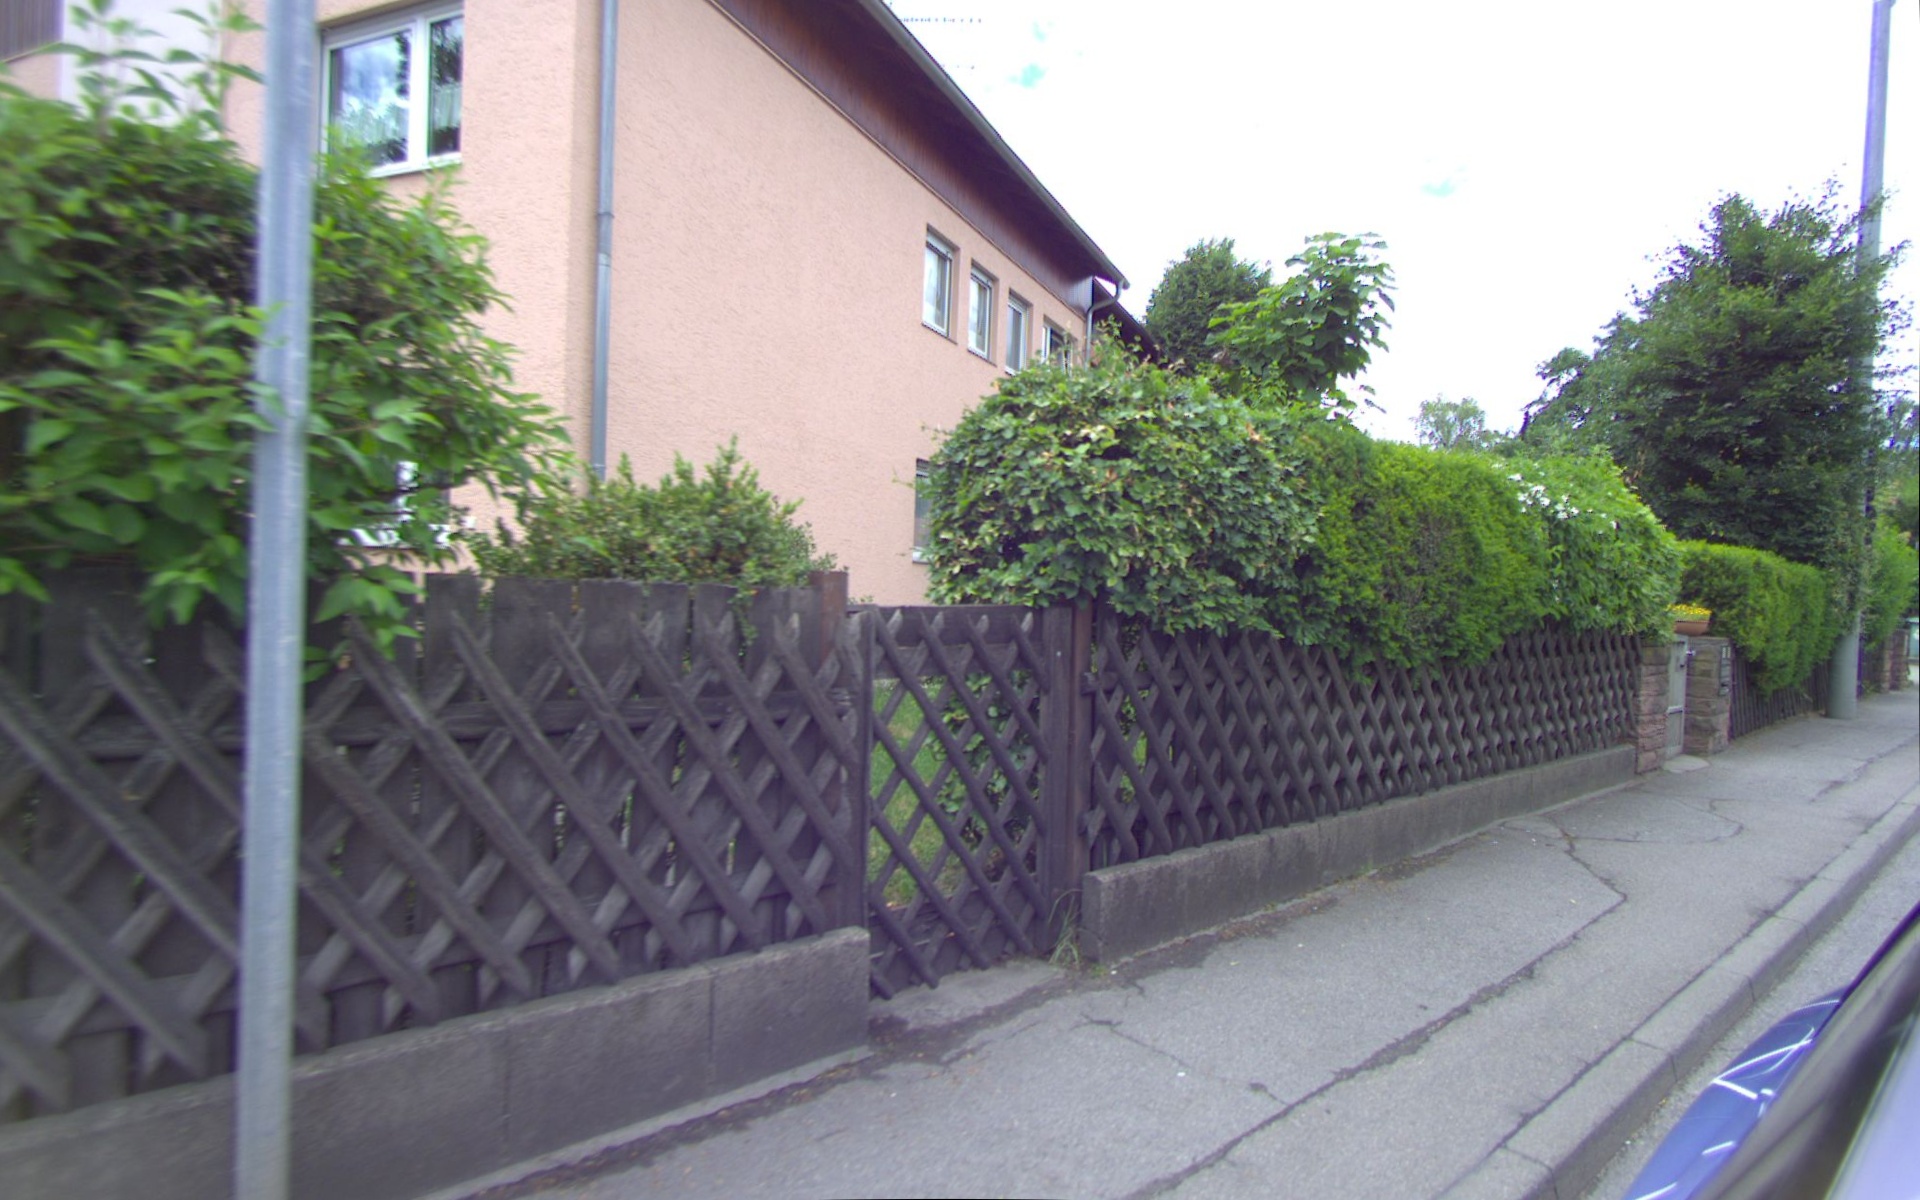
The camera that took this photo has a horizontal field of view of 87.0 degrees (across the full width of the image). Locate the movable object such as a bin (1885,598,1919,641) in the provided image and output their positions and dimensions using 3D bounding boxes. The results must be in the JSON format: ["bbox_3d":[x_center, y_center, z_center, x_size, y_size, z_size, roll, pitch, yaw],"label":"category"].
[{"bbox_3d":[22.400,0.449,24.030,0.445,0.967,0.678,6,3,33],"label":"movable object such as a bin"}]

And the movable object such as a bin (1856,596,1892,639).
[{"bbox_3d":[21.980,0.413,24.338,0.445,0.967,0.678,6,3,33],"label":"movable object such as a bin"}]

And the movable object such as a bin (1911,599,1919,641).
[{"bbox_3d":[22.823,0.494,23.777,0.444,0.967,0.679,6,3,29],"label":"movable object such as a bin"}]
